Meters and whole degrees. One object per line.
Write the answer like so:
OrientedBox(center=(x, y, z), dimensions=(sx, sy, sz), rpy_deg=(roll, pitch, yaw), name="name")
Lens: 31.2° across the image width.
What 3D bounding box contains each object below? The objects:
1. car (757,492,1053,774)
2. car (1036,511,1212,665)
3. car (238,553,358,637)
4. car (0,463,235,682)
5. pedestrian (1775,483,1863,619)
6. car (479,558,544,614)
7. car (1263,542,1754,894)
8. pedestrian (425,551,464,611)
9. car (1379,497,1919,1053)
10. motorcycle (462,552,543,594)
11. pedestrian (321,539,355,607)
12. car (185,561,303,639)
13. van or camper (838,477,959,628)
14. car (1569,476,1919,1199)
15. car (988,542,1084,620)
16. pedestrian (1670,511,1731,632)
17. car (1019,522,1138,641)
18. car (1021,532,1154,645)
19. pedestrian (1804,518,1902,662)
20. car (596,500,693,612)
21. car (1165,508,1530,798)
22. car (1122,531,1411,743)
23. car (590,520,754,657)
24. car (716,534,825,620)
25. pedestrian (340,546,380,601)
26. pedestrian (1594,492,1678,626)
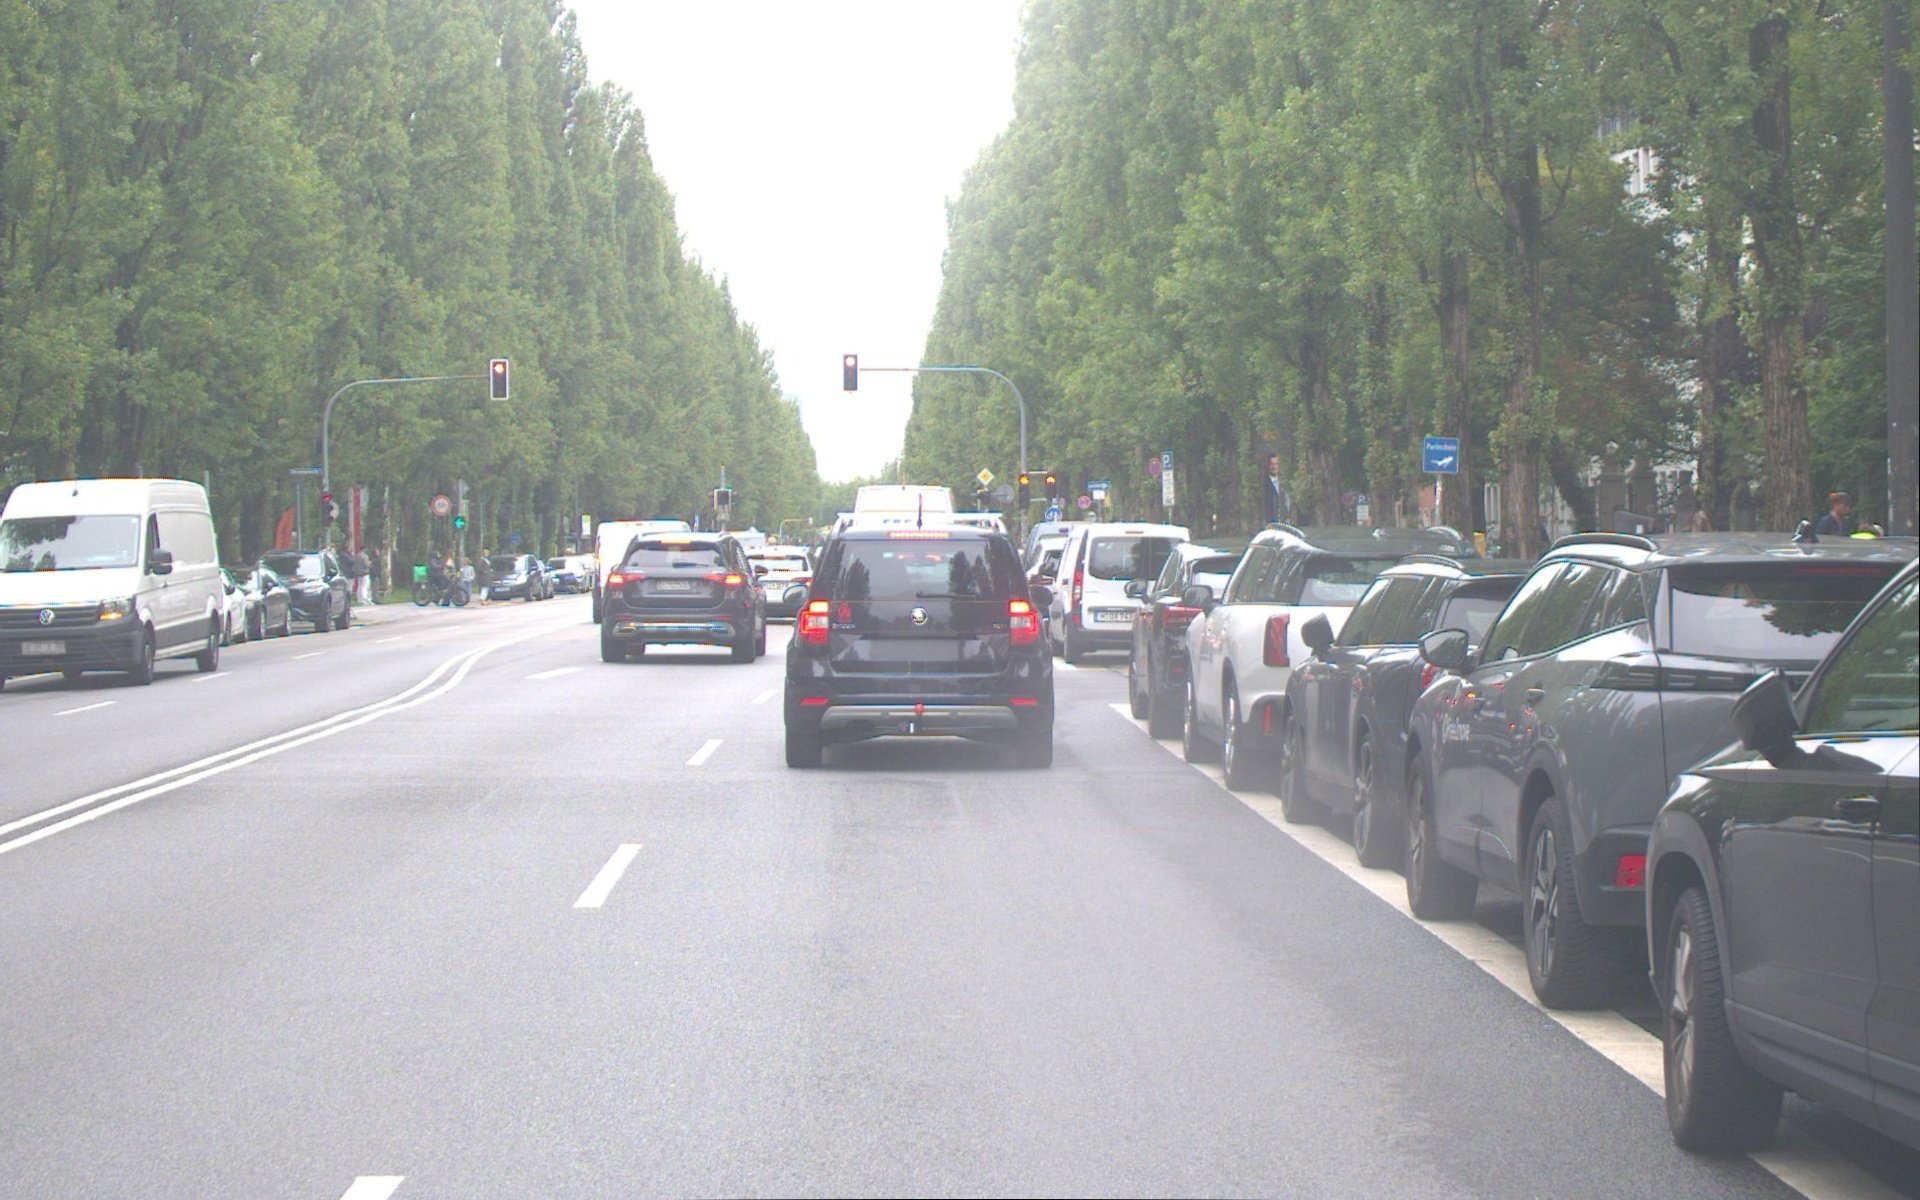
OrientedBox(center=(-0.383, 0.177, 24.006), dimensions=(1.855, 1.764, 4.000), rpy_deg=(1, 1, -1), name="car")
OrientedBox(center=(2.075, -0.191, 44.585), dimensions=(1.851, 1.875, 4.169), rpy_deg=(-1, 1, -3), name="car")
OrientedBox(center=(-14.151, -0.137, 73.712), dimensions=(1.849, 1.648, 4.696), rpy_deg=(-3, 1, -3), name="car")
OrientedBox(center=(-10.865, -0.365, 43.359), dimensions=(2.227, 2.475, 6.759), rpy_deg=(-3, 1, -3), name="car")
OrientedBox(center=(11.414, -0.648, 45.690), dimensions=(0.799, 1.775, 0.821), rpy_deg=(-1, 1, -18), name="pedestrian")
OrientedBox(center=(-14.891, -0.490, 114.237), dimensions=(1.688, 1.776, 3.775), rpy_deg=(-1, 1, -1), name="car")
OrientedBox(center=(2.623, 0.485, 17.395), dimensions=(1.702, 1.514, 4.295), rpy_deg=(-1, 1, -1), name="car")
OrientedBox(center=(-15.325, -0.559, 102.193), dimensions=(0.963, 1.761, 0.682), rpy_deg=(-1, 1, -23), name="pedestrian")
OrientedBox(center=(2.735, 0.455, 12.366), dimensions=(1.784, 1.612, 4.638), rpy_deg=(-1, 1, -1), name="car")
OrientedBox(center=(-14.057, -0.842, 105.741), dimensions=(2.363, 1.265, 0.930), rpy_deg=(0, 1, 0), name="motorcycle")
OrientedBox(center=(-14.502, -0.624, 80.122), dimensions=(0.660, 1.572, 0.530), rpy_deg=(-1, 1, 0), name="pedestrian")
OrientedBox(center=(-14.082, -0.025, 67.763), dimensions=(1.623, 1.384, 4.167), rpy_deg=(-3, 1, -3), name="car")
OrientedBox(center=(-1.117, -0.855, 60.685), dimensions=(1.975, 2.540, 4.025), rpy_deg=(-1, 1, -3), name="van or camper")
OrientedBox(center=(2.687, 0.558, 7.252), dimensions=(1.784, 1.643, 4.418), rpy_deg=(-1, 1, -3), name="car")
OrientedBox(center=(1.495, -0.393, 68.442), dimensions=(1.735, 1.470, 3.563), rpy_deg=(-1, 1, -1), name="car")
OrientedBox(center=(9.742, -0.378, 45.257), dimensions=(0.567, 1.573, 0.867), rpy_deg=(-1, 1, -1), name="pedestrian")
OrientedBox(center=(1.932, -0.345, 57.068), dimensions=(1.735, 1.889, 4.025), rpy_deg=(-1, 1, -1), name="car")
OrientedBox(center=(1.881, -0.208, 51.772), dimensions=(1.741, 1.587, 4.212), rpy_deg=(-1, 1, -1), name="car")
OrientedBox(center=(11.576, -0.142, 44.585), dimensions=(0.901, 1.794, 0.831), rpy_deg=(-2, 3, -22), name="pedestrian")
OrientedBox(center=(-6.133, -0.871, 67.093), dimensions=(1.781, 2.104, 4.025), rpy_deg=(-1, 1, -4), name="car")
OrientedBox(center=(2.395, 0.258, 22.322), dimensions=(1.742, 1.670, 4.580), rpy_deg=(-1, 1, -1), name="car")
OrientedBox(center=(2.379, 0.230, 27.750), dimensions=(1.880, 1.535, 4.464), rpy_deg=(-1, 1, 0), name="car")
OrientedBox(center=(-3.649, -0.183, 44.123), dimensions=(1.781, 1.614, 4.025), rpy_deg=(-2, 1, -1), name="car")
OrientedBox(center=(-3.620, -0.465, 66.158), dimensions=(1.993, 1.555, 4.001), rpy_deg=(-1, 2, -2), name="car")
OrientedBox(center=(-18.247, -0.803, 104.547), dimensions=(0.880, 1.649, 0.878), rpy_deg=(-2, 1, -38), name="pedestrian")
OrientedBox(center=(8.867, -0.542, 45.110), dimensions=(0.853, 1.711, 0.867), rpy_deg=(-2, 1, -1), name="pedestrian")
